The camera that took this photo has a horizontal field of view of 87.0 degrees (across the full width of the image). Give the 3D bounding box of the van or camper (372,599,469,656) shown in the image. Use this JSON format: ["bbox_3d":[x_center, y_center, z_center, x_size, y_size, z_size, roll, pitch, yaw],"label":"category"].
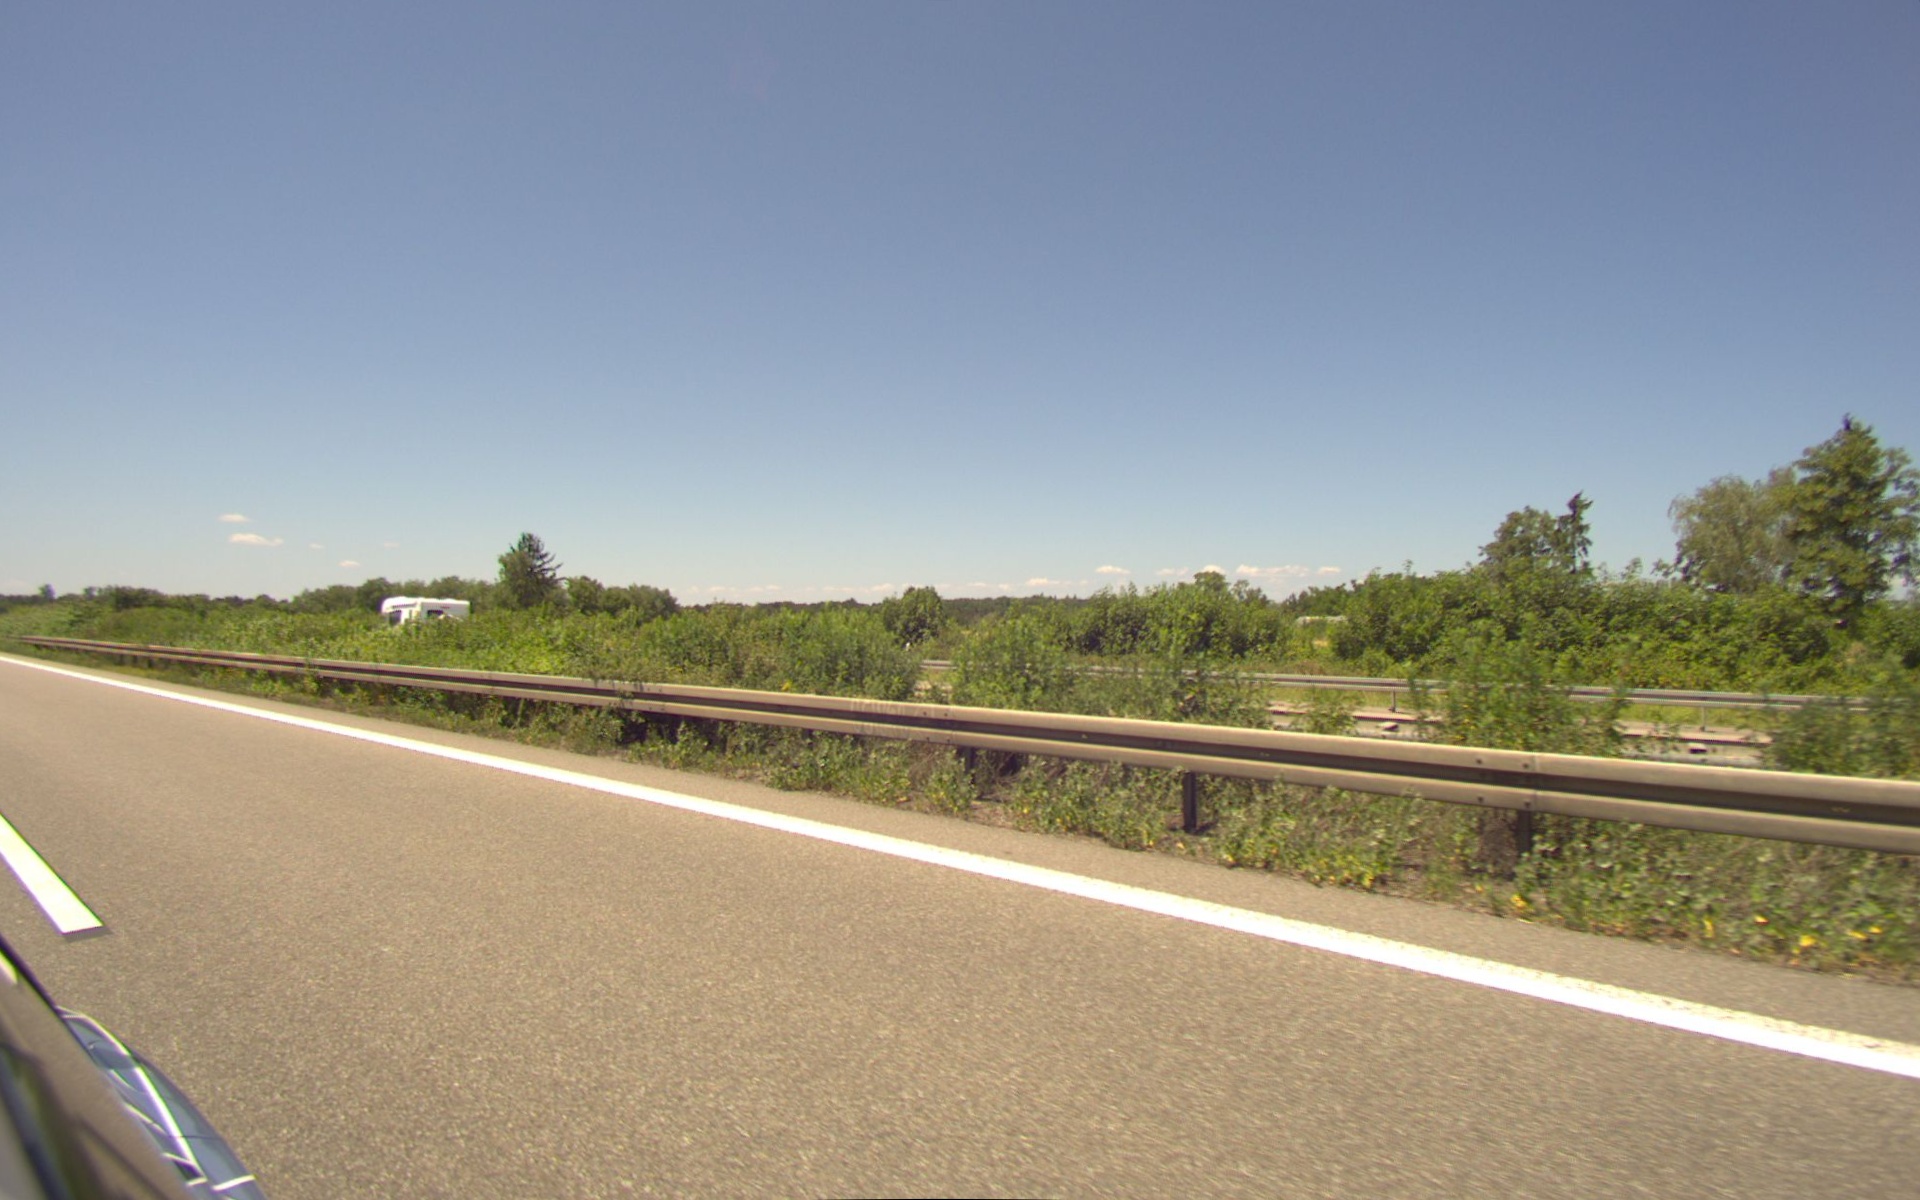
[{"bbox_3d":[-25.967,1.276,48.572,6.295,2.564,1.973,-1,0,41],"label":"van or camper"}]
